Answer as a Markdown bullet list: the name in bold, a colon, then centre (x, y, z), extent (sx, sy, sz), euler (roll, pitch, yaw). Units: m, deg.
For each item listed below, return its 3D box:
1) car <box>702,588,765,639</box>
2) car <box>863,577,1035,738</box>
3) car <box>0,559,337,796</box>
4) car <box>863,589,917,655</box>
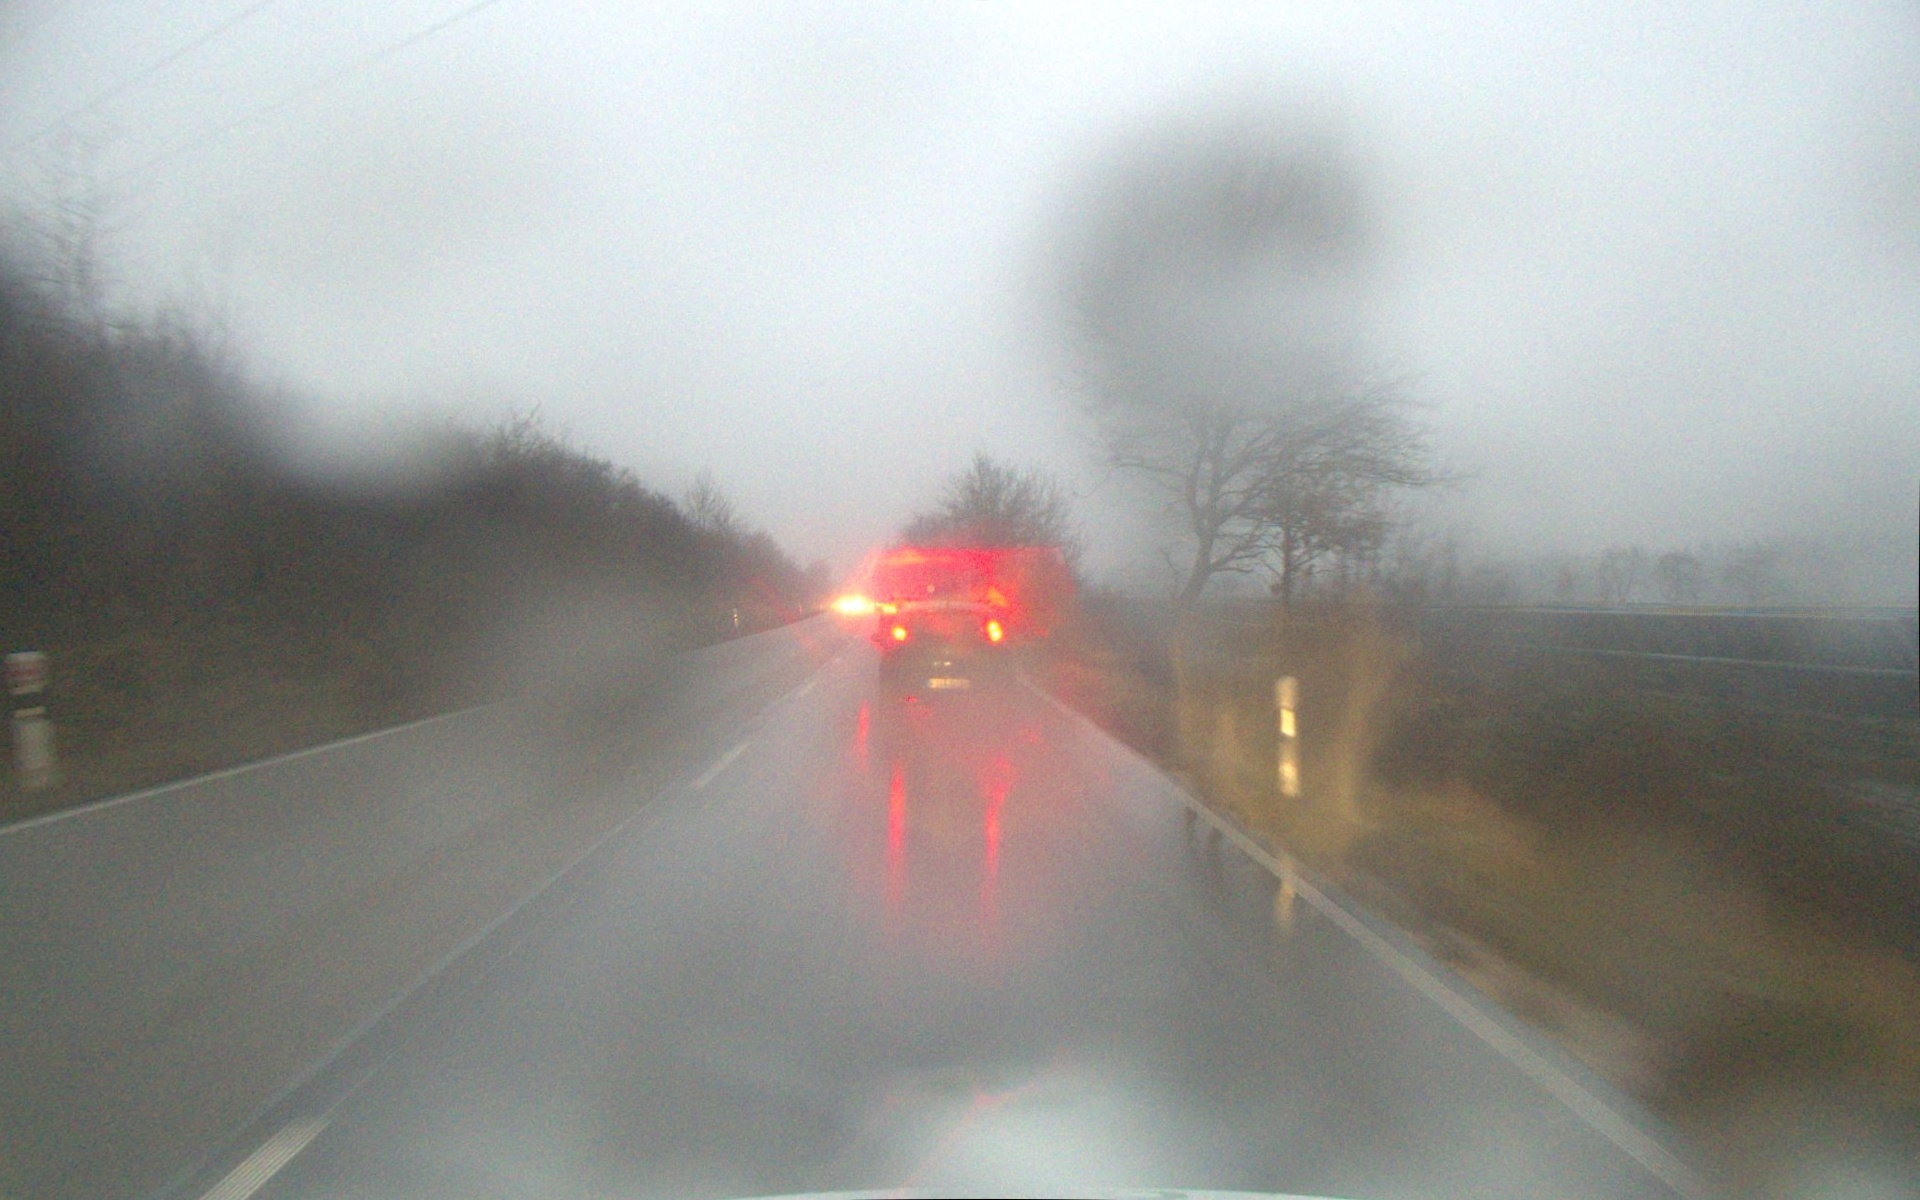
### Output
- **car**: centre (-8.668, 0.506, 63.485), extent (1.953, 1.816, 3.998), euler (2, 0, -2)
- **car**: centre (-0.193, 0.673, 21.196), extent (1.953, 1.816, 3.998), euler (2, 0, -2)
- **car**: centre (-6.581, 0.547, 13.396), extent (1.740, 1.637, 3.772), euler (-1, 0, -2)
- **car**: centre (-2.140, 0.670, 50.793), extent (1.543, 1.908, 3.707), euler (2, 0, -2)
